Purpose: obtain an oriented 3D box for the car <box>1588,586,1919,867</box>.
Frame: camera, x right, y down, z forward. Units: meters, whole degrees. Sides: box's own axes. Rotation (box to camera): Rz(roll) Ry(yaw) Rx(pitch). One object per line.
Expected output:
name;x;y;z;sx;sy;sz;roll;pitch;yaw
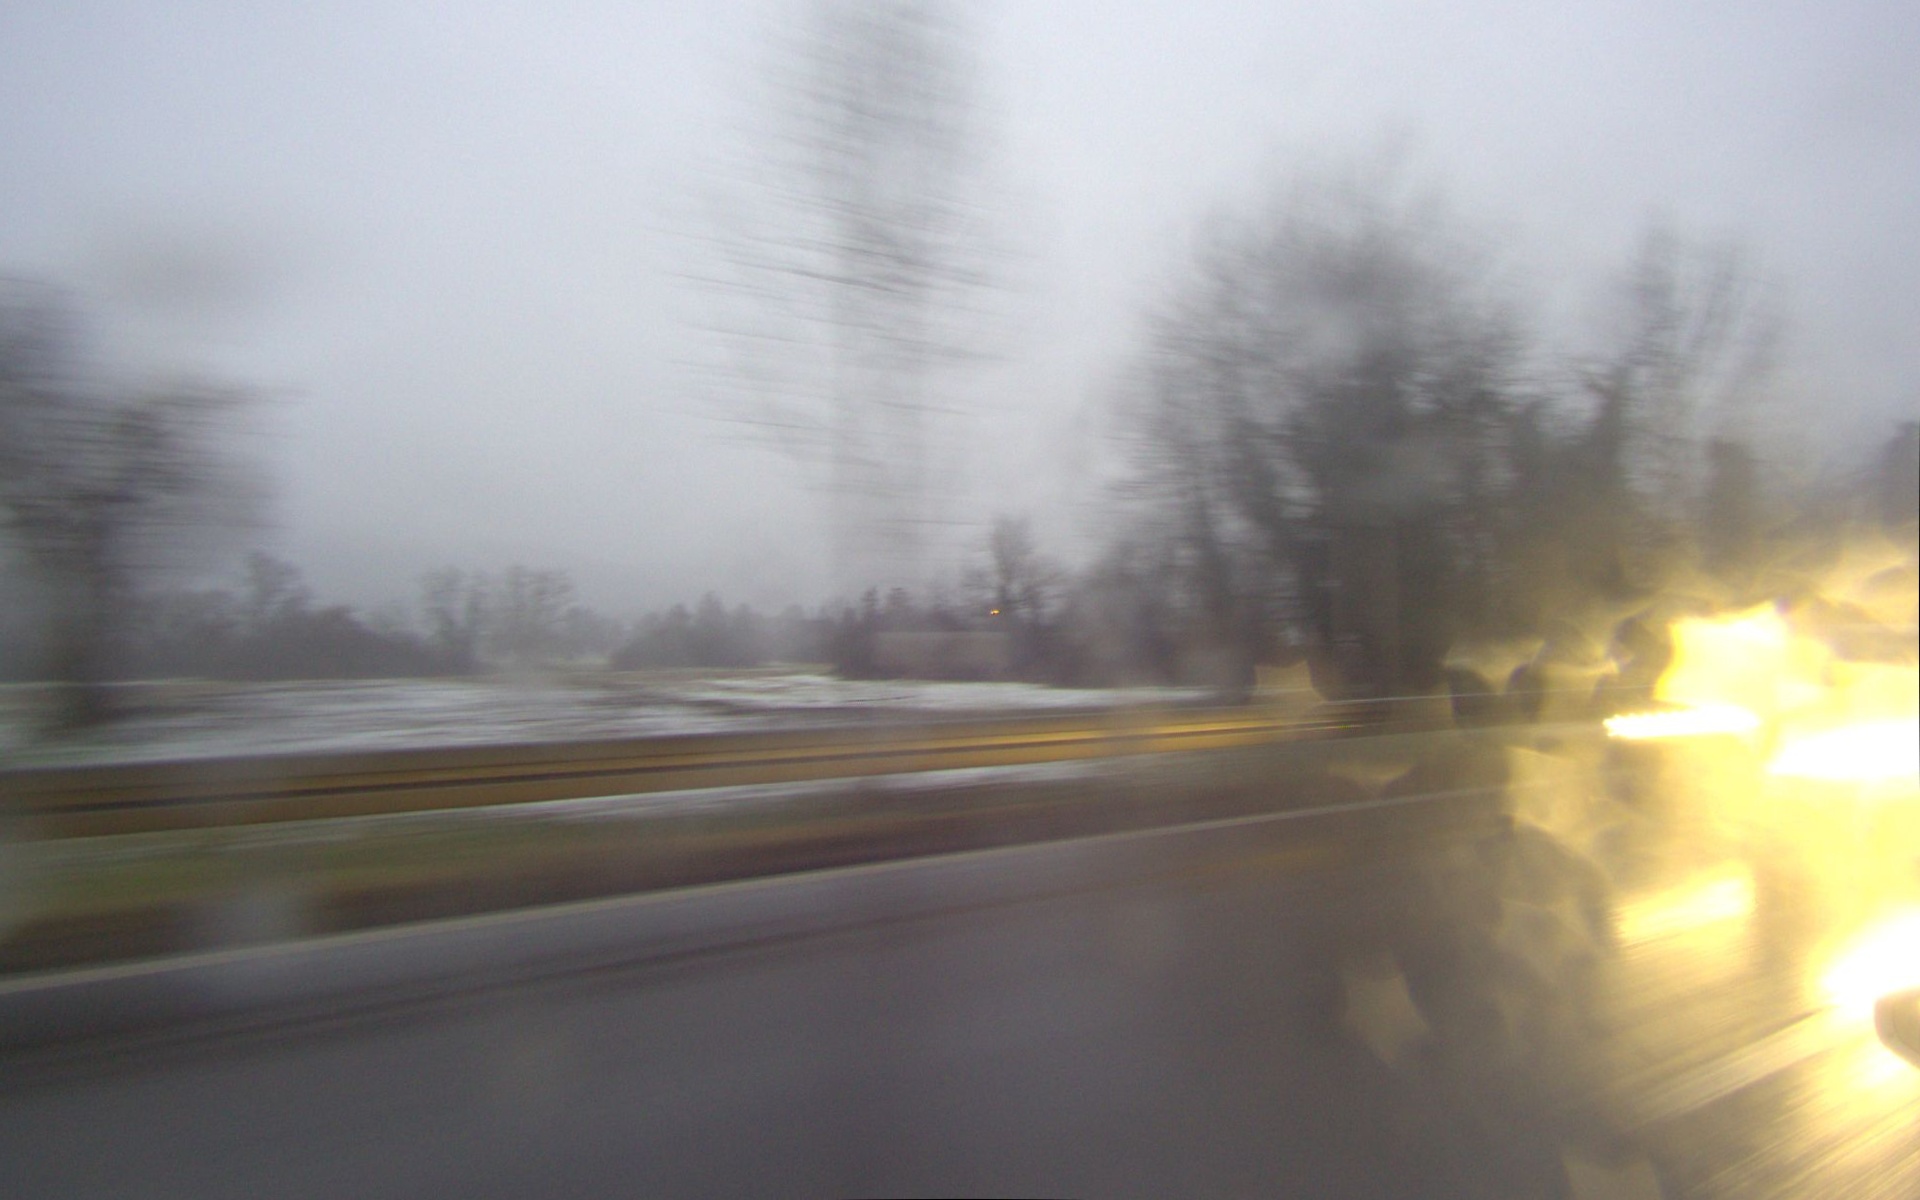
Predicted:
car;7.278;0.731;7.838;4.538;1.643;1.986;0;2;-27
